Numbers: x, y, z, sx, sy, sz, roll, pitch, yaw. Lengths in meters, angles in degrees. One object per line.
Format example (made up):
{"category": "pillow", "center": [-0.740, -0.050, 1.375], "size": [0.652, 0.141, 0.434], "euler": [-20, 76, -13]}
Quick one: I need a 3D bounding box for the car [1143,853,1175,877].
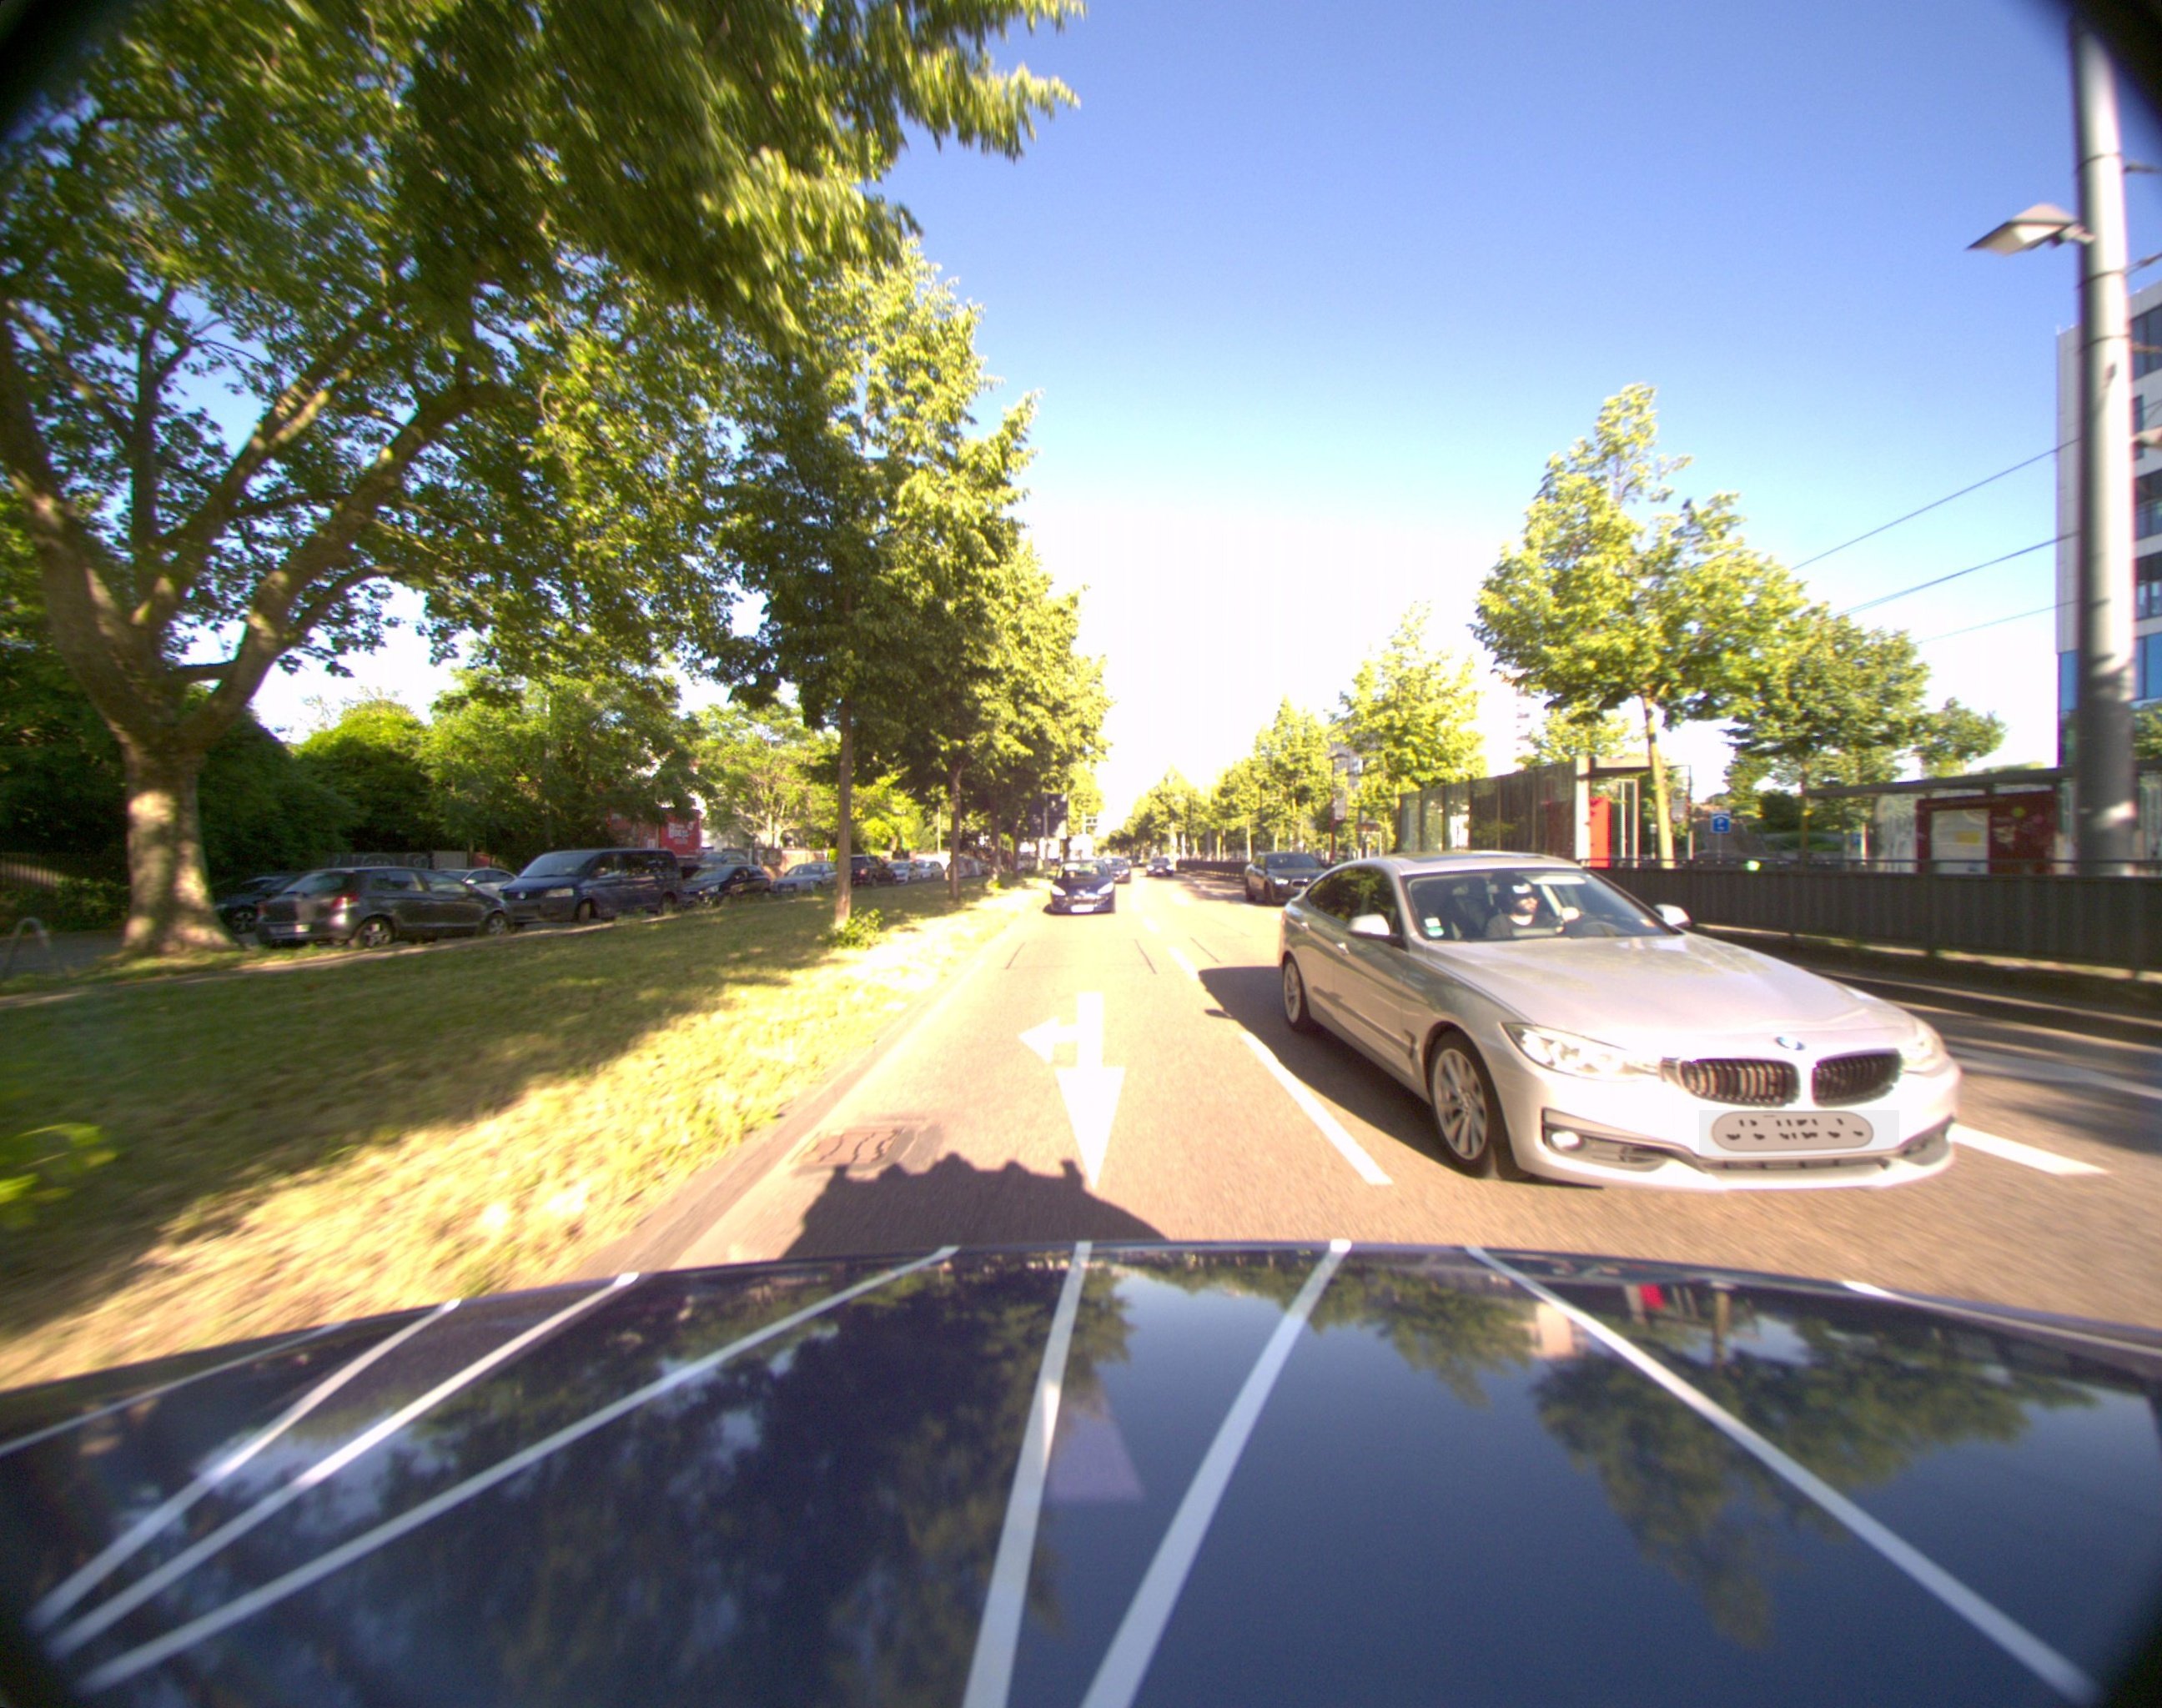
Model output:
{"category": "car", "center": [5.436, 0.760, 53.385], "size": [1.803, 1.518, 4.343], "euler": [-2, 0, 0]}

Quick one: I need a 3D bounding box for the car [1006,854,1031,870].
{"category": "car", "center": [-6.228, 0.786, 76.350], "size": [1.998, 1.576, 4.000], "euler": [-1, 0, 2]}

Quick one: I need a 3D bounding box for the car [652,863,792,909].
{"category": "car", "center": [-11.498, 0.972, 24.770], "size": [1.998, 1.242, 4.656], "euler": [-1, 0, 6]}

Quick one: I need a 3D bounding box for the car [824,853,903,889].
{"category": "car", "center": [-10.480, 0.796, 37.042], "size": [1.997, 1.587, 4.657], "euler": [-1, 0, 7]}

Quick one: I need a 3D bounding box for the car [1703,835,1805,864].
{"category": "car", "center": [35.121, -0.230, 39.809], "size": [1.875, 1.347, 4.000], "euler": [-2, 0, 2]}

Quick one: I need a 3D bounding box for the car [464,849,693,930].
{"category": "car", "center": [-12.192, 0.769, 18.984], "size": [2.037, 1.731, 5.023], "euler": [-1, 0, 5]}

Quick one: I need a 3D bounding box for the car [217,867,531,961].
{"category": "car", "center": [-12.531, 0.978, 13.891], "size": [1.942, 1.372, 3.914], "euler": [-1, 0, 3]}

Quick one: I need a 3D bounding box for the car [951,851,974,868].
{"category": "car", "center": [-14.634, 0.642, 93.930], "size": [1.998, 2.002, 4.000], "euler": [-1, 0, 2]}

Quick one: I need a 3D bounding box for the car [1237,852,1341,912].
{"category": "car", "center": [5.959, 0.739, 22.290], "size": [1.803, 1.518, 4.343], "euler": [-2, 0, 0]}

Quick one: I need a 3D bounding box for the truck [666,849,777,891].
{"category": "truck", "center": [-19.176, 0.784, 41.020], "size": [2.454, 2.063, 6.582], "euler": [-1, 0, 4]}

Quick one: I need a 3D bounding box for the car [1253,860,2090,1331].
{"category": "car", "center": [2.594, 0.859, 5.077], "size": [1.803, 1.518, 4.910], "euler": [-2, 0, 1]}

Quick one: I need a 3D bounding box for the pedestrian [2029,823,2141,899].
{"category": "pedestrian", "center": [20.043, 0.132, 15.188], "size": [1.068, 1.458, 0.844], "euler": [-1, 0, 6]}

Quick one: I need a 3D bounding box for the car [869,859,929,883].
{"category": "car", "center": [-10.109, 0.934, 42.503], "size": [1.998, 1.203, 4.115], "euler": [-1, 0, 6]}

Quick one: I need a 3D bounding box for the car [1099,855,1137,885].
{"category": "car", "center": [1.949, 0.832, 41.663], "size": [1.803, 1.518, 4.605], "euler": [-2, 0, 0]}

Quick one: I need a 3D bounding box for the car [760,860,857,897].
{"category": "car", "center": [-11.211, 0.954, 31.683], "size": [1.998, 1.355, 4.867], "euler": [-1, 0, 4]}

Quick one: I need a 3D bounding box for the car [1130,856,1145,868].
{"category": "car", "center": [7.169, 0.994, 97.234], "size": [1.675, 1.418, 4.006], "euler": [-2, 0, 2]}

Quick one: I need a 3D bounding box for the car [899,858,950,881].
{"category": "car", "center": [-9.806, 0.922, 48.045], "size": [1.998, 1.308, 4.547], "euler": [-1, 0, 3]}

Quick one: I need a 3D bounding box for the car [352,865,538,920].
{"category": "car", "center": [-20.753, 1.190, 25.122], "size": [1.998, 1.520, 4.656], "euler": [-1, 0, 4]}

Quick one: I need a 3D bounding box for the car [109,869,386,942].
{"category": "car", "center": [-21.083, 1.223, 19.600], "size": [1.998, 1.520, 4.654], "euler": [1, 0, 0]}

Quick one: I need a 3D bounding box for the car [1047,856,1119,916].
{"category": "car", "center": [0.171, 0.874, 22.946], "size": [1.802, 1.518, 4.606], "euler": [-2, 0, 4]}
